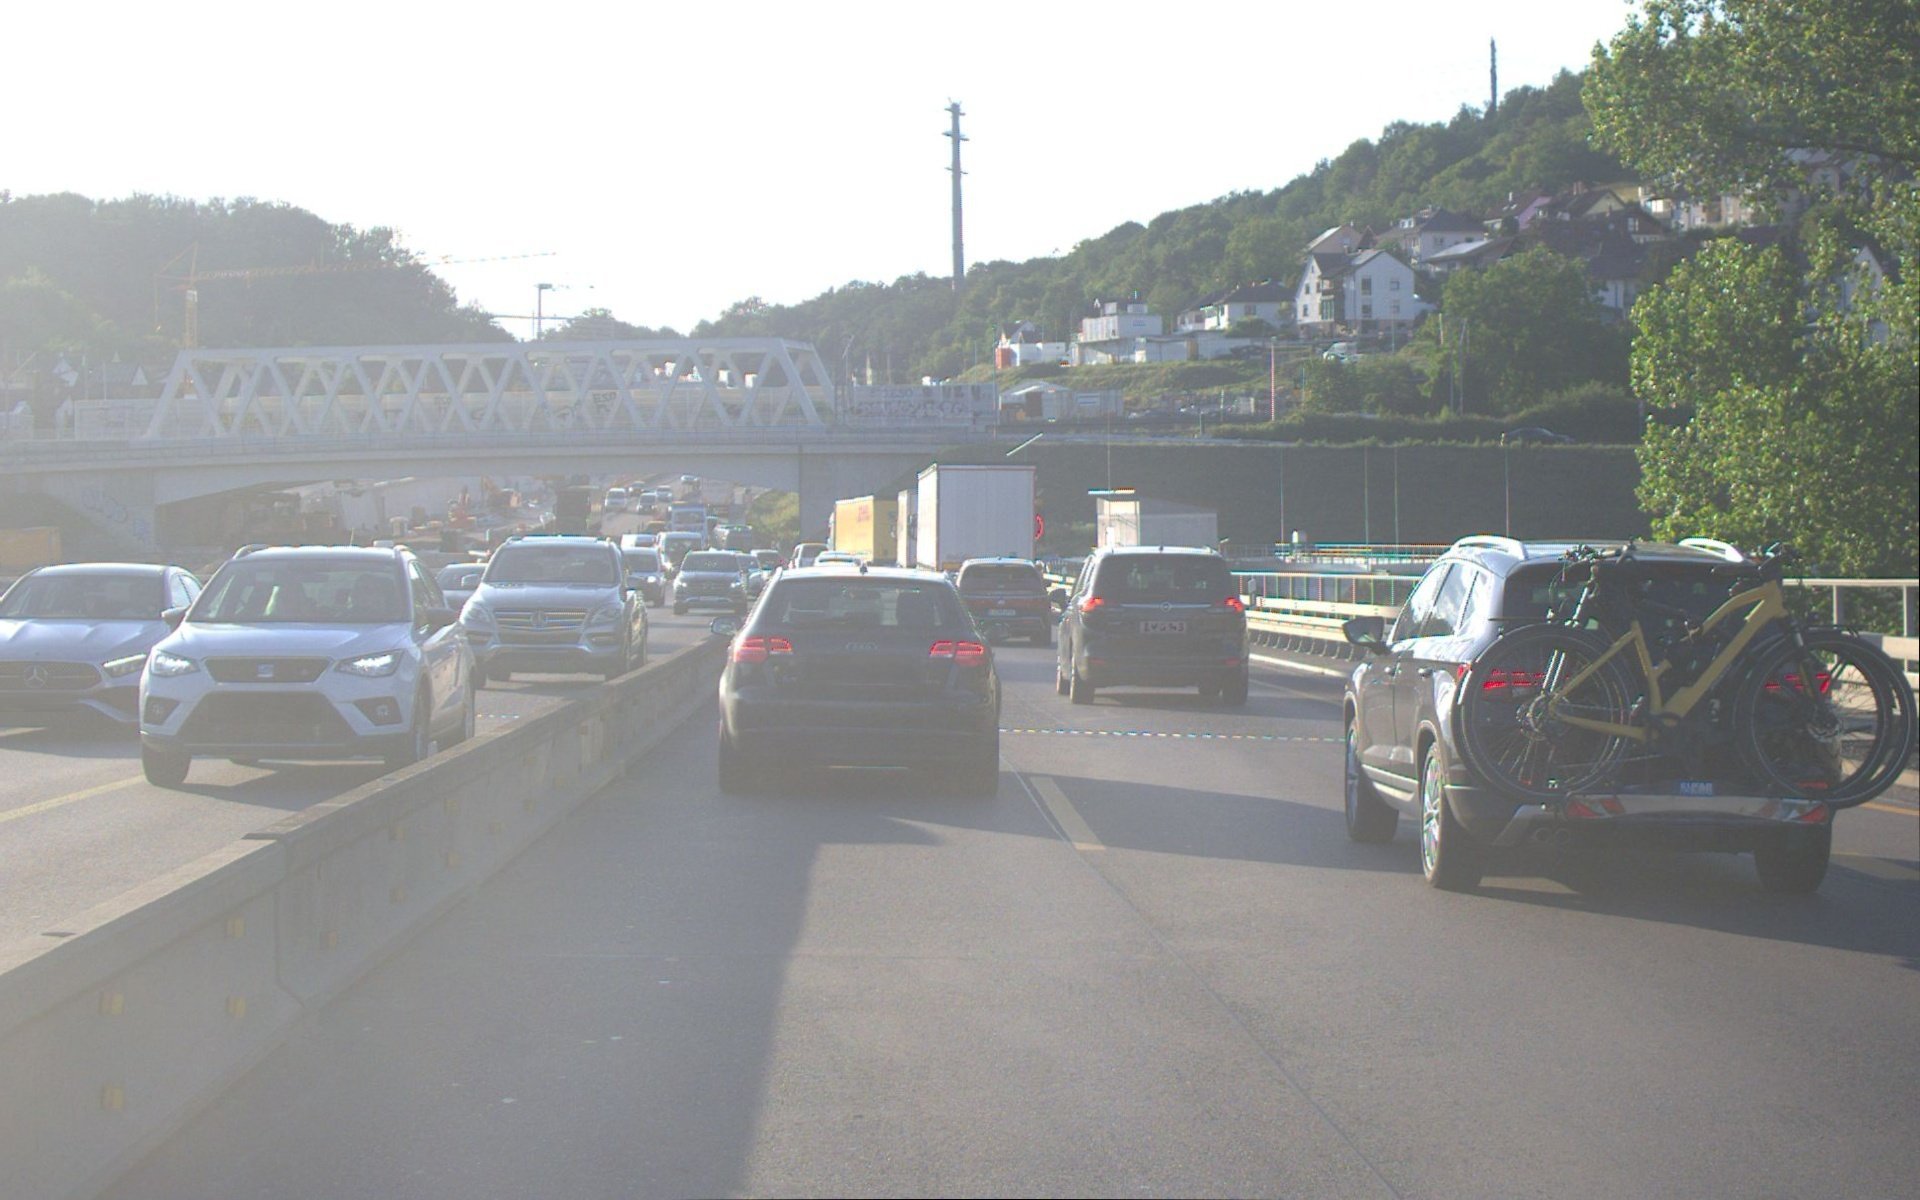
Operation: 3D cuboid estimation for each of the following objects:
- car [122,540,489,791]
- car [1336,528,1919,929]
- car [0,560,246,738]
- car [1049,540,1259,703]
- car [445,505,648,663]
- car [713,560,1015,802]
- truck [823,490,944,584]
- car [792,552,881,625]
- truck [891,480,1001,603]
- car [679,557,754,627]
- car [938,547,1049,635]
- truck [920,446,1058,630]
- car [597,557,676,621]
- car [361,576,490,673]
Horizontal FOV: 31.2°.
[{"bbox_3d":[-4.249,0.364,22.878,1.804,1.506,4.001,0,1,-2],"label":"car"},{"bbox_3d":[2.978,0.483,16.158,1.875,1.594,4.966,0,1,0],"label":"car"},{"bbox_3d":[-7.350,0.378,29.104,1.774,1.377,4.532,0,0,-1],"label":"car"},{"bbox_3d":[2.008,0.180,36.769,1.814,1.626,4.412,1,1,-2],"label":"car"},{"bbox_3d":[-4.830,-0.204,40.729,1.993,1.752,4.661,0,1,-2],"label":"car"},{"bbox_3d":[-0.679,0.461,22.393,1.770,1.385,4.001,1,1,-3],"label":"car"},{"bbox_3d":[-3.980,-3.268,173.448,3.889,4.482,13.853,1,2,-10],"label":"truck"},{"bbox_3d":[-2.679,-0.271,73.931,1.765,1.481,4.001,1,1,-4],"label":"car"},{"bbox_3d":[-0.673,-2.417,134.738,3.890,4.482,15.269,1,2,-2],"label":"truck"},{"bbox_3d":[-6.687,-0.249,94.779,1.929,1.748,4.674,3,1,-4],"label":"car"},{"bbox_3d":[0.595,-0.193,64.183,1.770,1.547,4.001,2,1,-3],"label":"car"},{"bbox_3d":[0.643,-1.883,93.841,3.385,4.482,15.270,1,3,-1],"label":"truck"},{"bbox_3d":[-10.035,-0.359,106.850,1.993,1.850,4.282,3,1,0],"label":"car"},{"bbox_3d":[-9.329,0.404,60.248,1.710,1.546,4.001,-1,1,-1],"label":"car"}]
